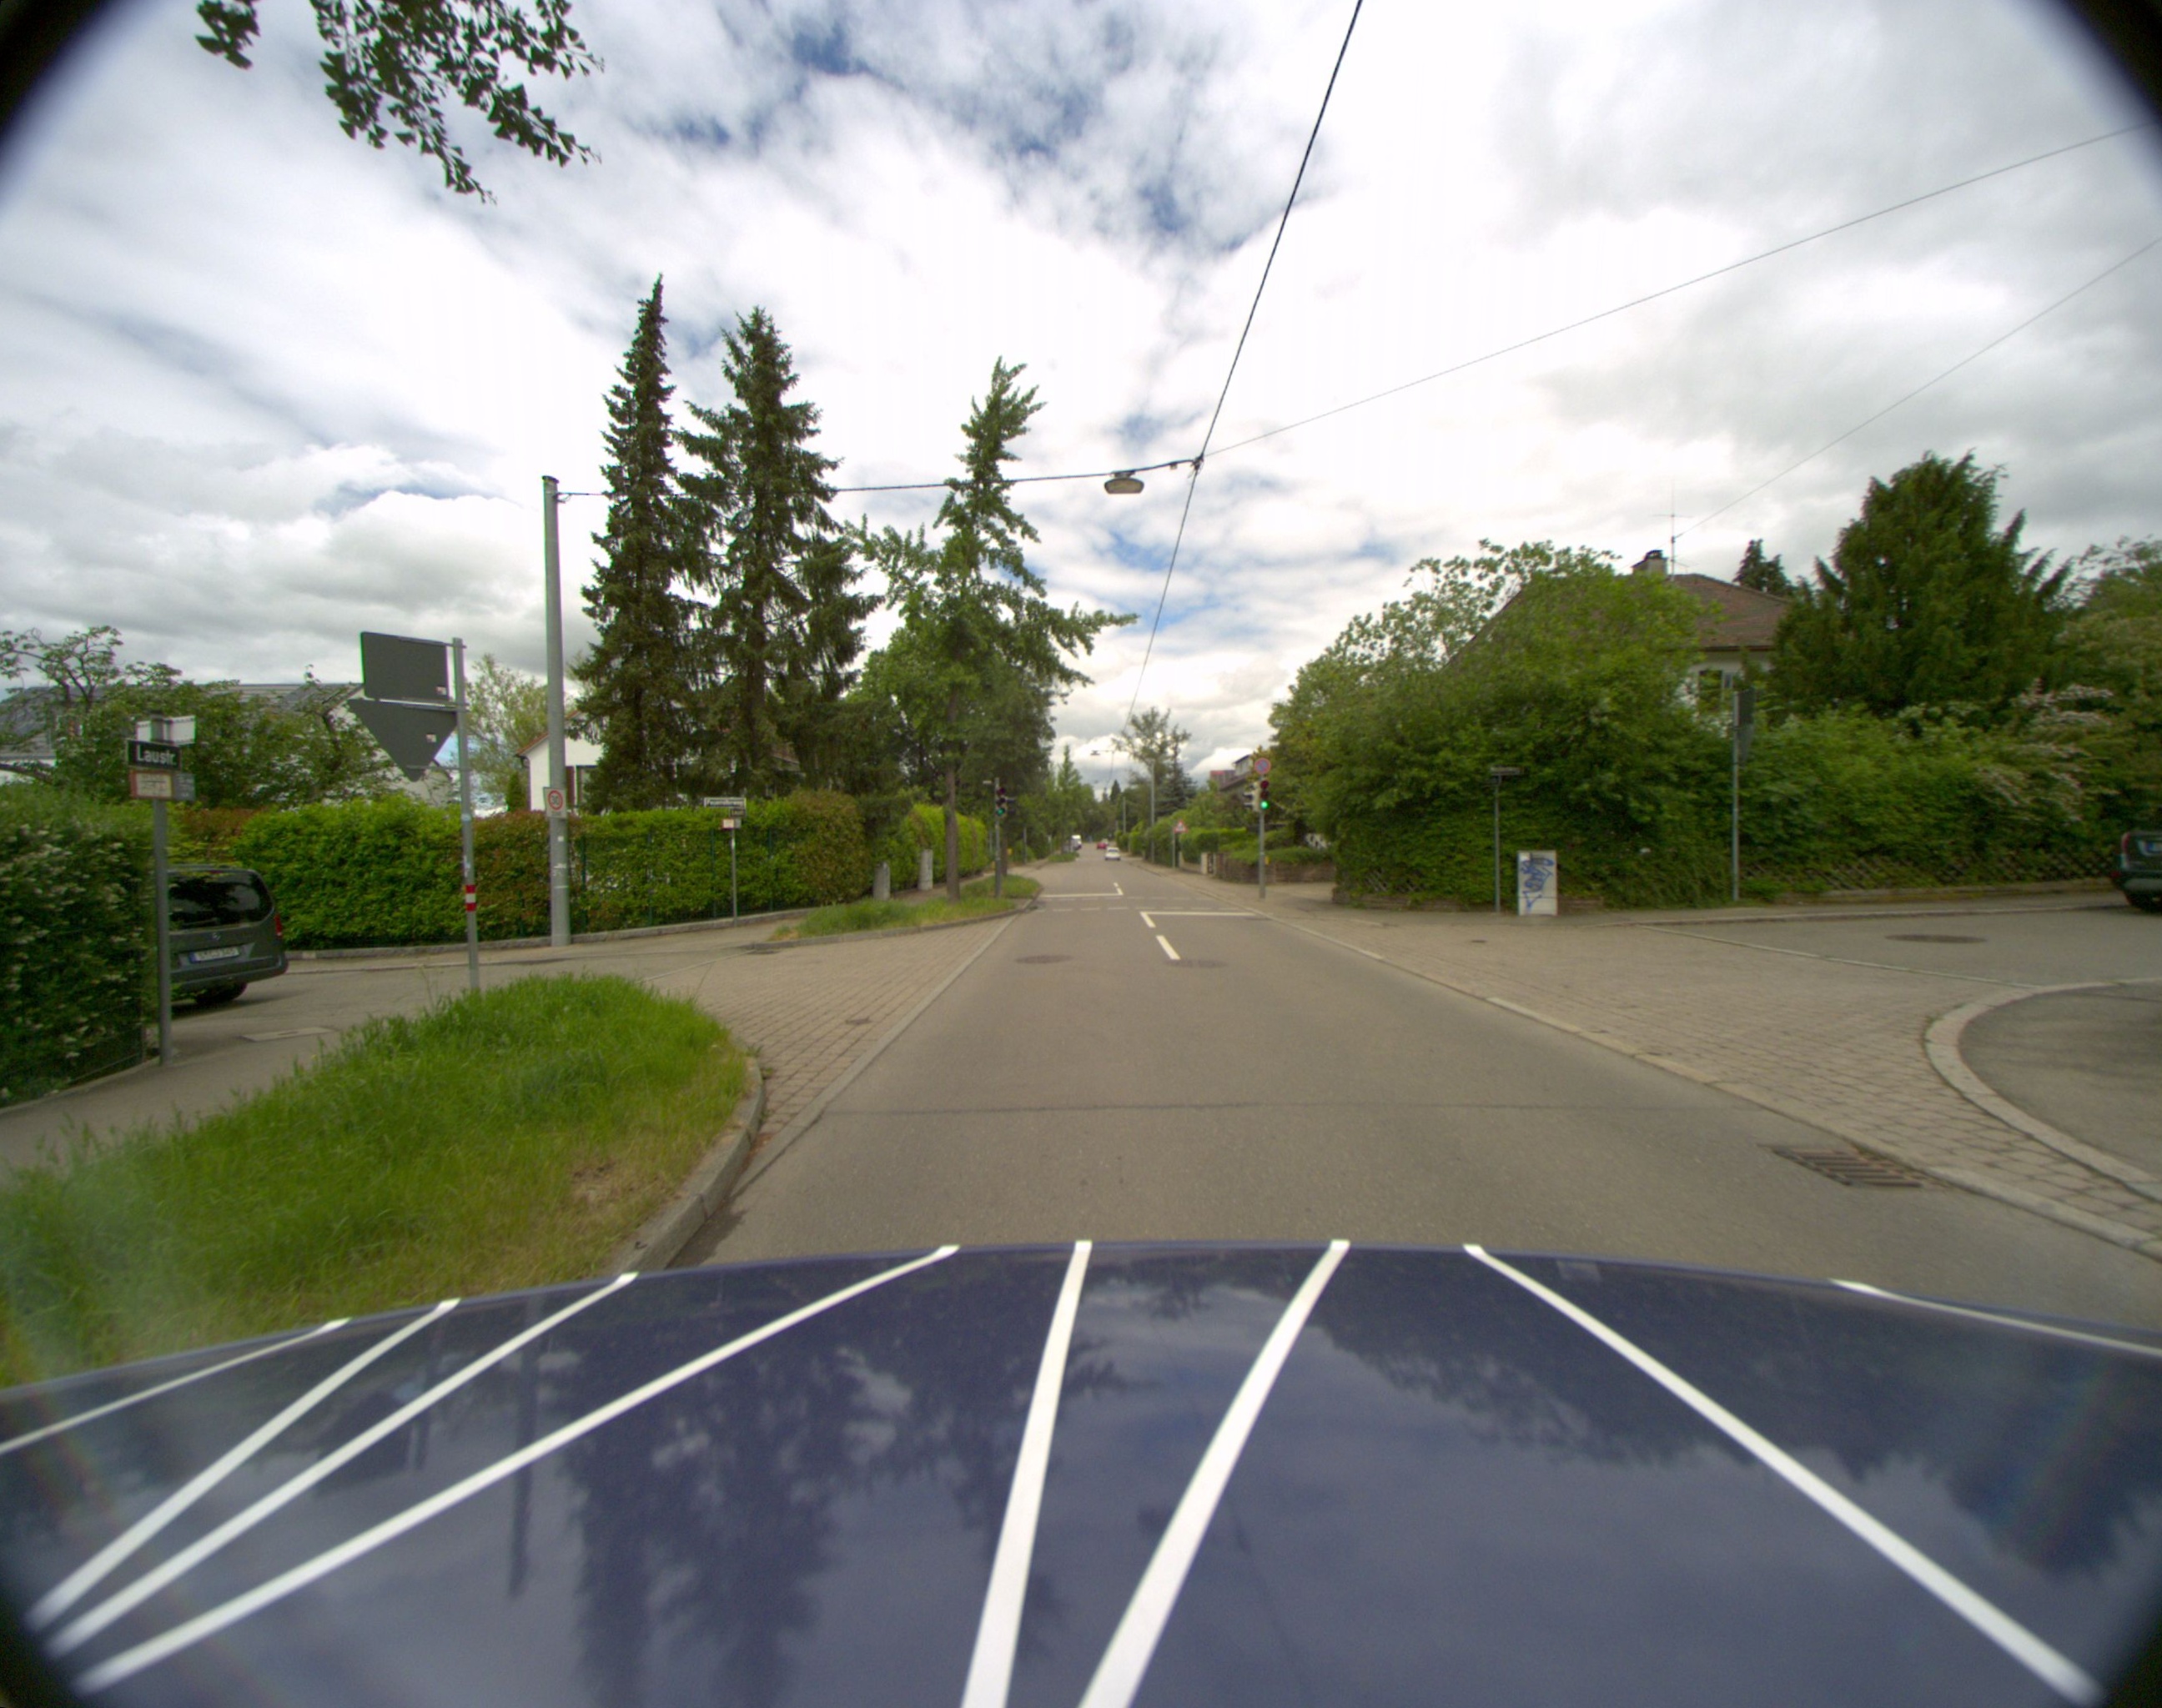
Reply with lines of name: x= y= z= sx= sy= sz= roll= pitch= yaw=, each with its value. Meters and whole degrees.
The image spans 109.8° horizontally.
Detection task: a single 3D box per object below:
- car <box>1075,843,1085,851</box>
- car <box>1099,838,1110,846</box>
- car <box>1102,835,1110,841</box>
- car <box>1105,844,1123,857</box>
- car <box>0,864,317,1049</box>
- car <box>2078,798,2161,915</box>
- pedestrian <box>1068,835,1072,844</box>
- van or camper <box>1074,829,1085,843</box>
car: x=-0.199 y=-1.290 z=139.858 sx=1.683 sy=1.399 sz=4.053 roll=-3 pitch=1 yaw=2
car: x=4.521 y=-2.311 z=147.410 sx=1.810 sy=1.423 sz=4.117 roll=-3 pitch=1 yaw=0
car: x=6.007 y=-3.794 z=180.257 sx=1.810 sy=1.423 sz=4.299 roll=0 pitch=1 yaw=0
car: x=3.932 y=-0.399 z=90.772 sx=1.859 sy=1.443 sz=4.280 roll=1 pitch=1 yaw=0
car: x=-13.186 y=1.239 z=9.601 sx=4.771 sy=1.955 sz=2.158 roll=-3 pitch=1 yaw=1
car: x=16.647 y=-0.050 z=10.101 sx=3.995 sy=1.588 sz=1.878 roll=-3 pitch=1 yaw=6
pedestrian: x=-2.235 y=-2.965 z=156.242 sx=0.671 sy=1.689 sz=0.917 roll=0 pitch=3 yaw=1
van or camper: x=-0.309 y=-3.658 z=154.745 sx=2.046 sy=2.606 sz=7.035 roll=-2 pitch=3 yaw=-1
